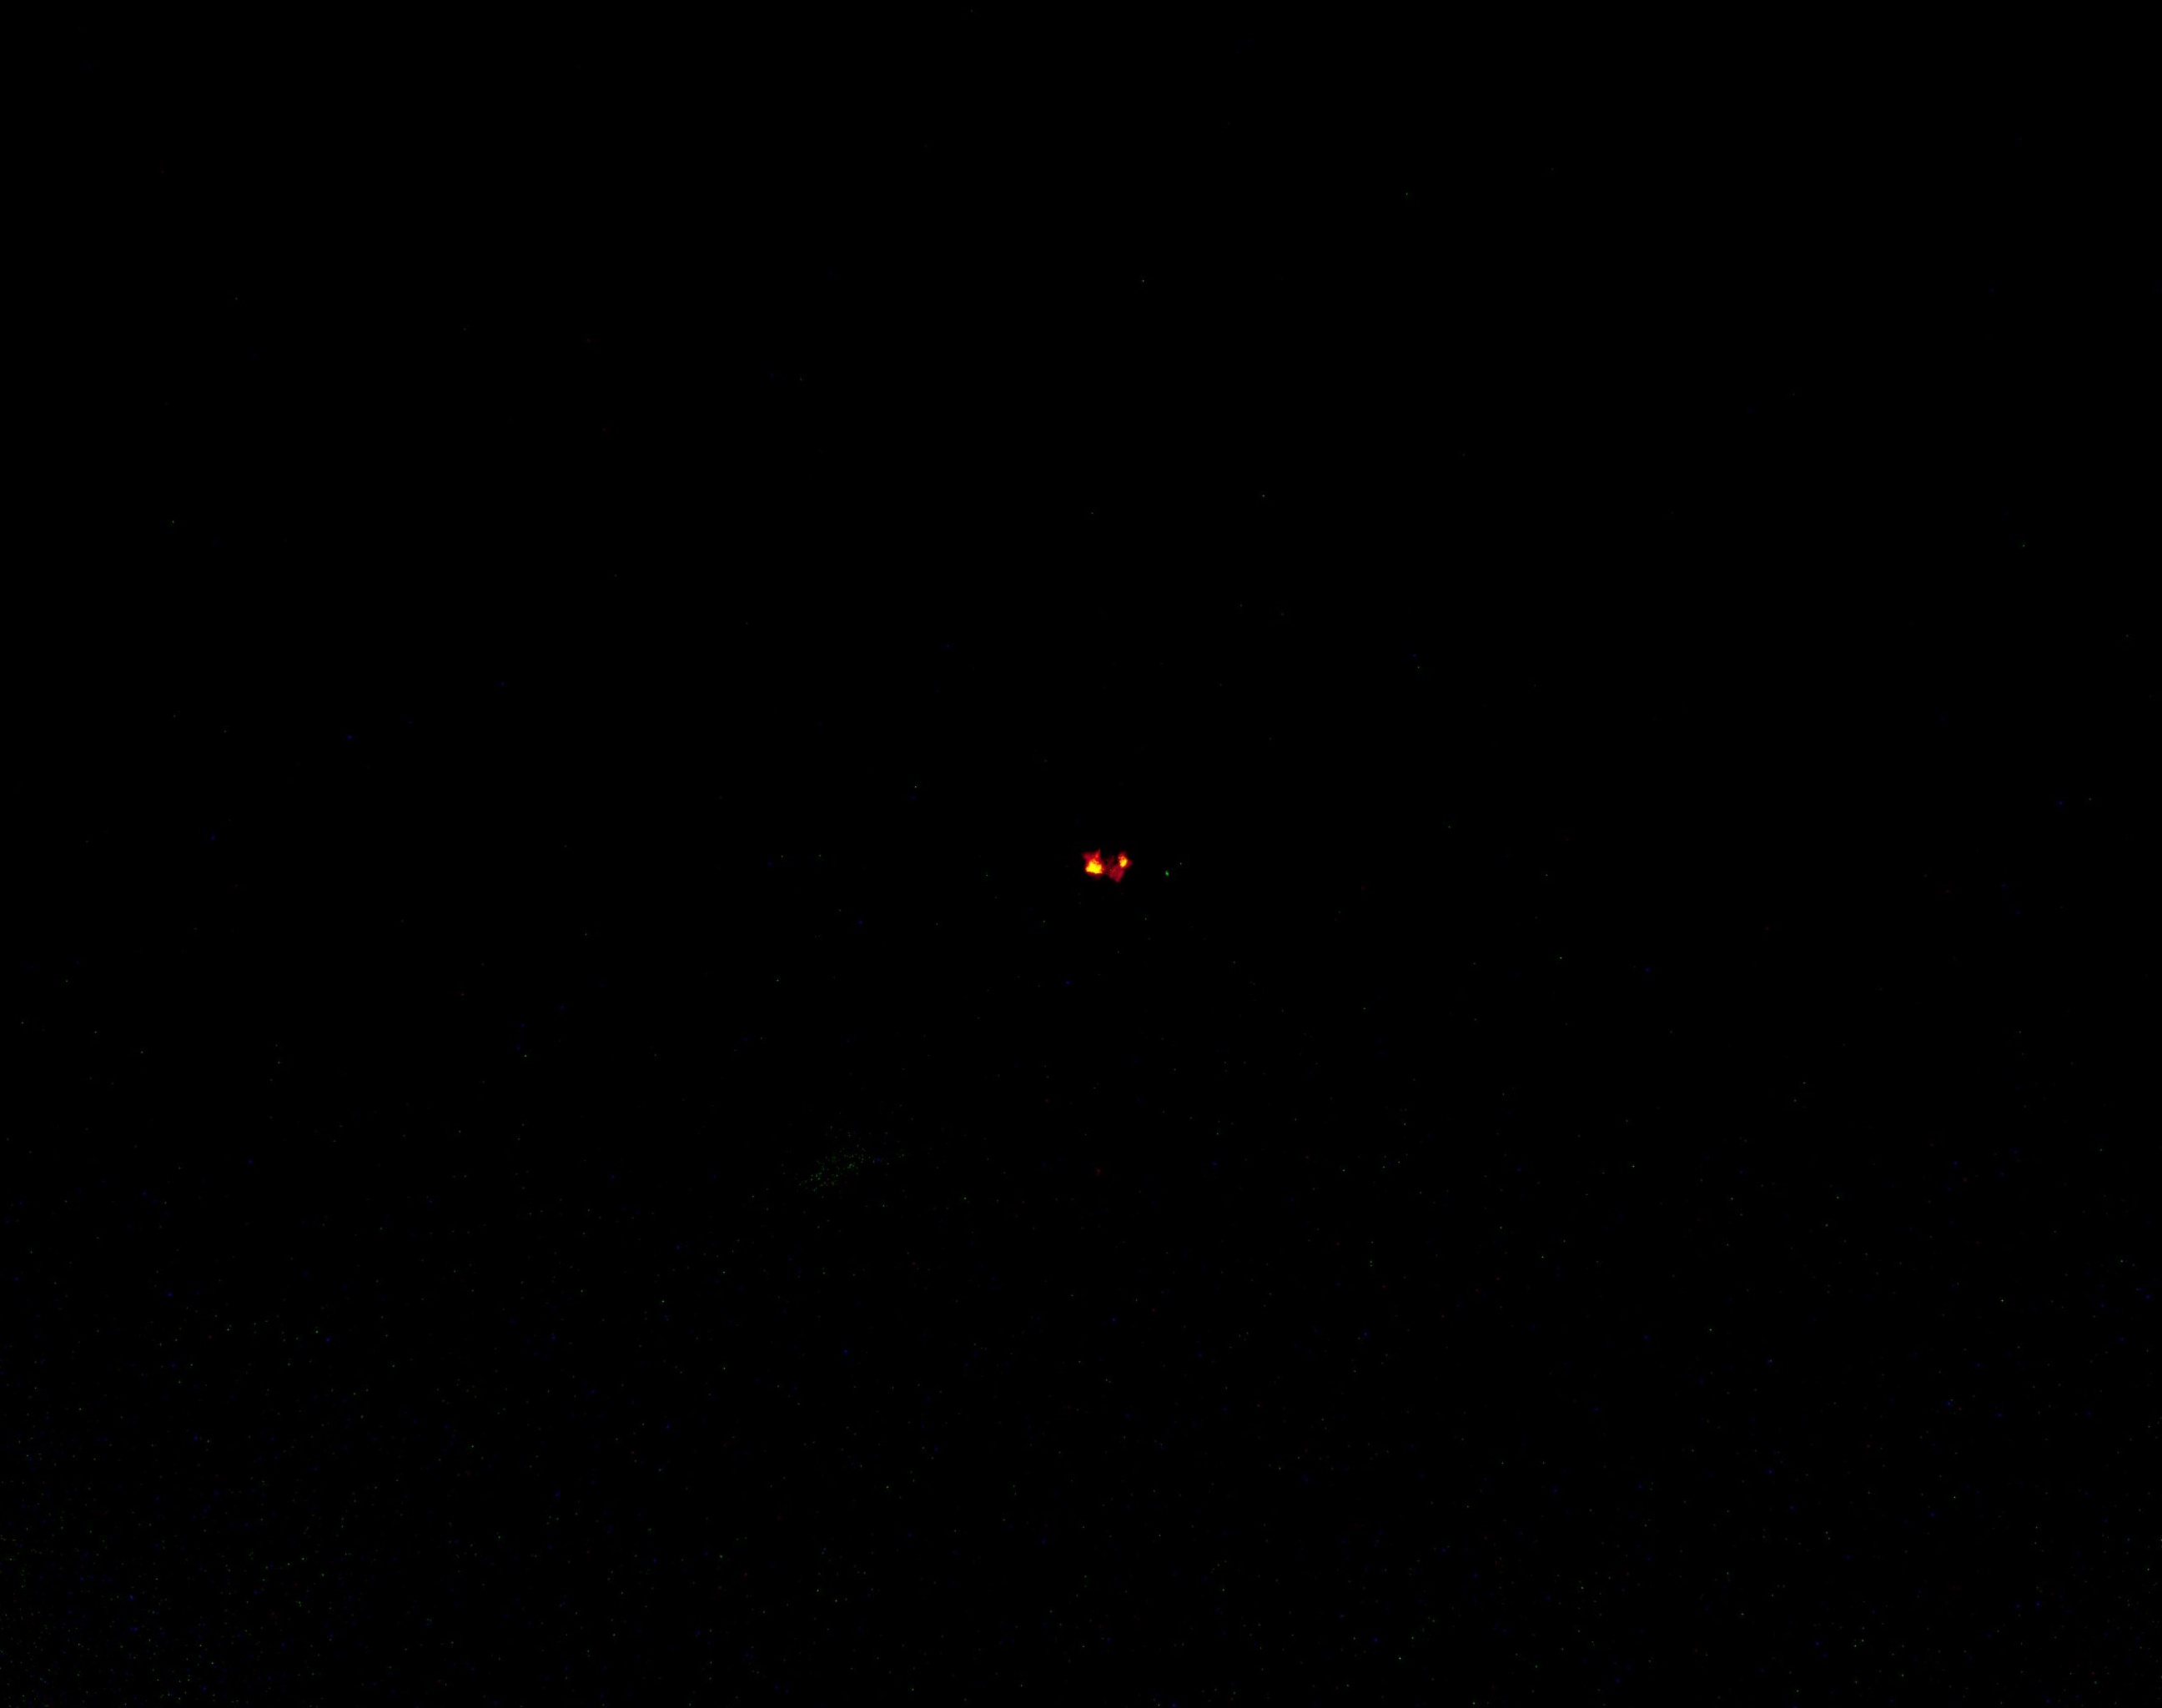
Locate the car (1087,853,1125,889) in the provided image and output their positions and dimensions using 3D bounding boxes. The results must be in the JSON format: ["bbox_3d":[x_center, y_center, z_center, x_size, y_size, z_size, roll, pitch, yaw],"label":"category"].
[{"bbox_3d":[1.320,0.830,42.363,1.835,1.740,4.002,-1,0,2],"label":"car"}]
